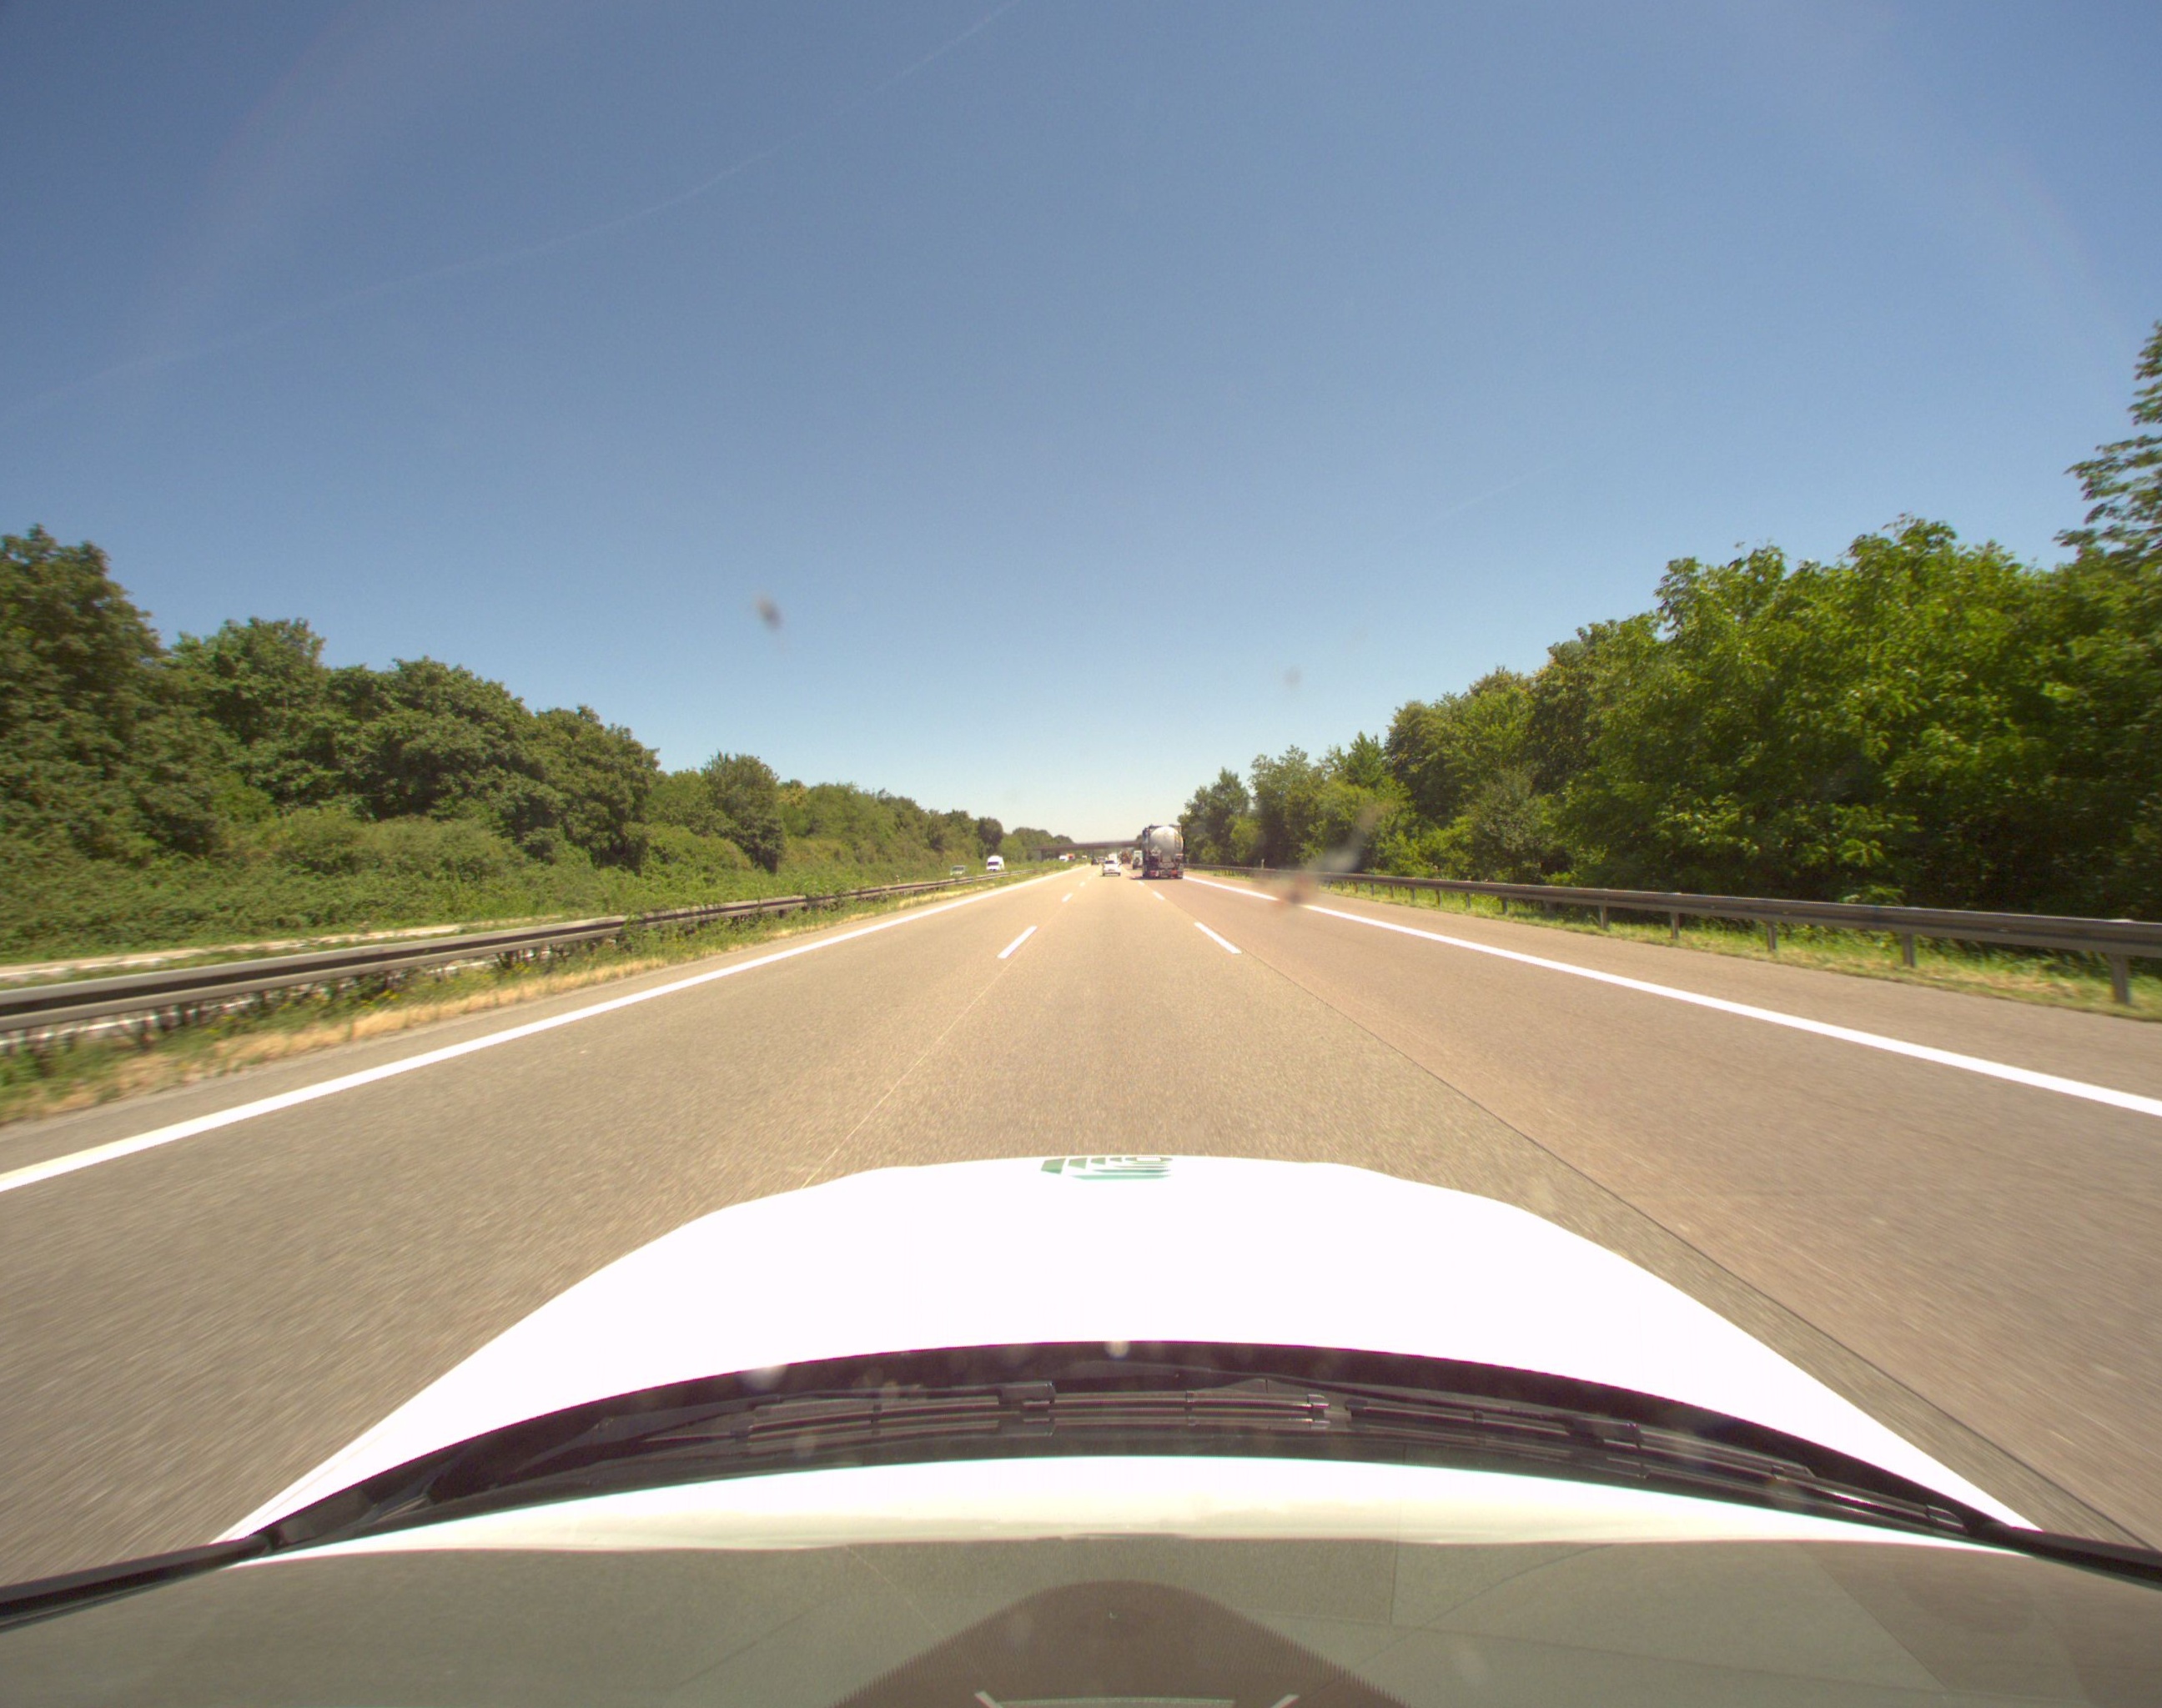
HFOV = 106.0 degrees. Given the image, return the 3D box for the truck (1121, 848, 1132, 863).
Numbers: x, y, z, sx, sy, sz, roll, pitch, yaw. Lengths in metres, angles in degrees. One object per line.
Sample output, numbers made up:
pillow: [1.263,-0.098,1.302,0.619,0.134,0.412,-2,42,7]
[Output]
truck: [12.645,0.492,226.143,2.658,3.994,6.641,-1,0,3]

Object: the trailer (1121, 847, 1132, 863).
trailer: [12.213,0.293,218.919,2.642,3.958,13.648,-1,0,3]

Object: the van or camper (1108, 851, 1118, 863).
van or camper: [7.255,0.757,185.650,2.049,2.622,5.990,-2,-1,3]

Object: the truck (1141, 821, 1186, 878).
truck: [6.446,-0.270,65.479,2.788,4.046,13.361,0,0,2]

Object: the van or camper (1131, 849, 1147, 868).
van or camper: [8.354,0.671,117.241,2.105,2.703,6.370,-1,-1,2]

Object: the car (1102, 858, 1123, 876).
car: [2.927,1.187,76.423,1.850,1.652,4.001,0,-1,2]

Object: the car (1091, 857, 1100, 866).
car: [3.593,1.789,196.074,2.044,2.014,4.178,0,-1,2]

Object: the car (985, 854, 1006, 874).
car: [-12.270,1.405,117.341,2.028,2.746,6.660,-4,-1,2]

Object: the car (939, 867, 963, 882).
car: [-14.178,2.255,89.168,1.735,1.508,4.417,0,0,2]
